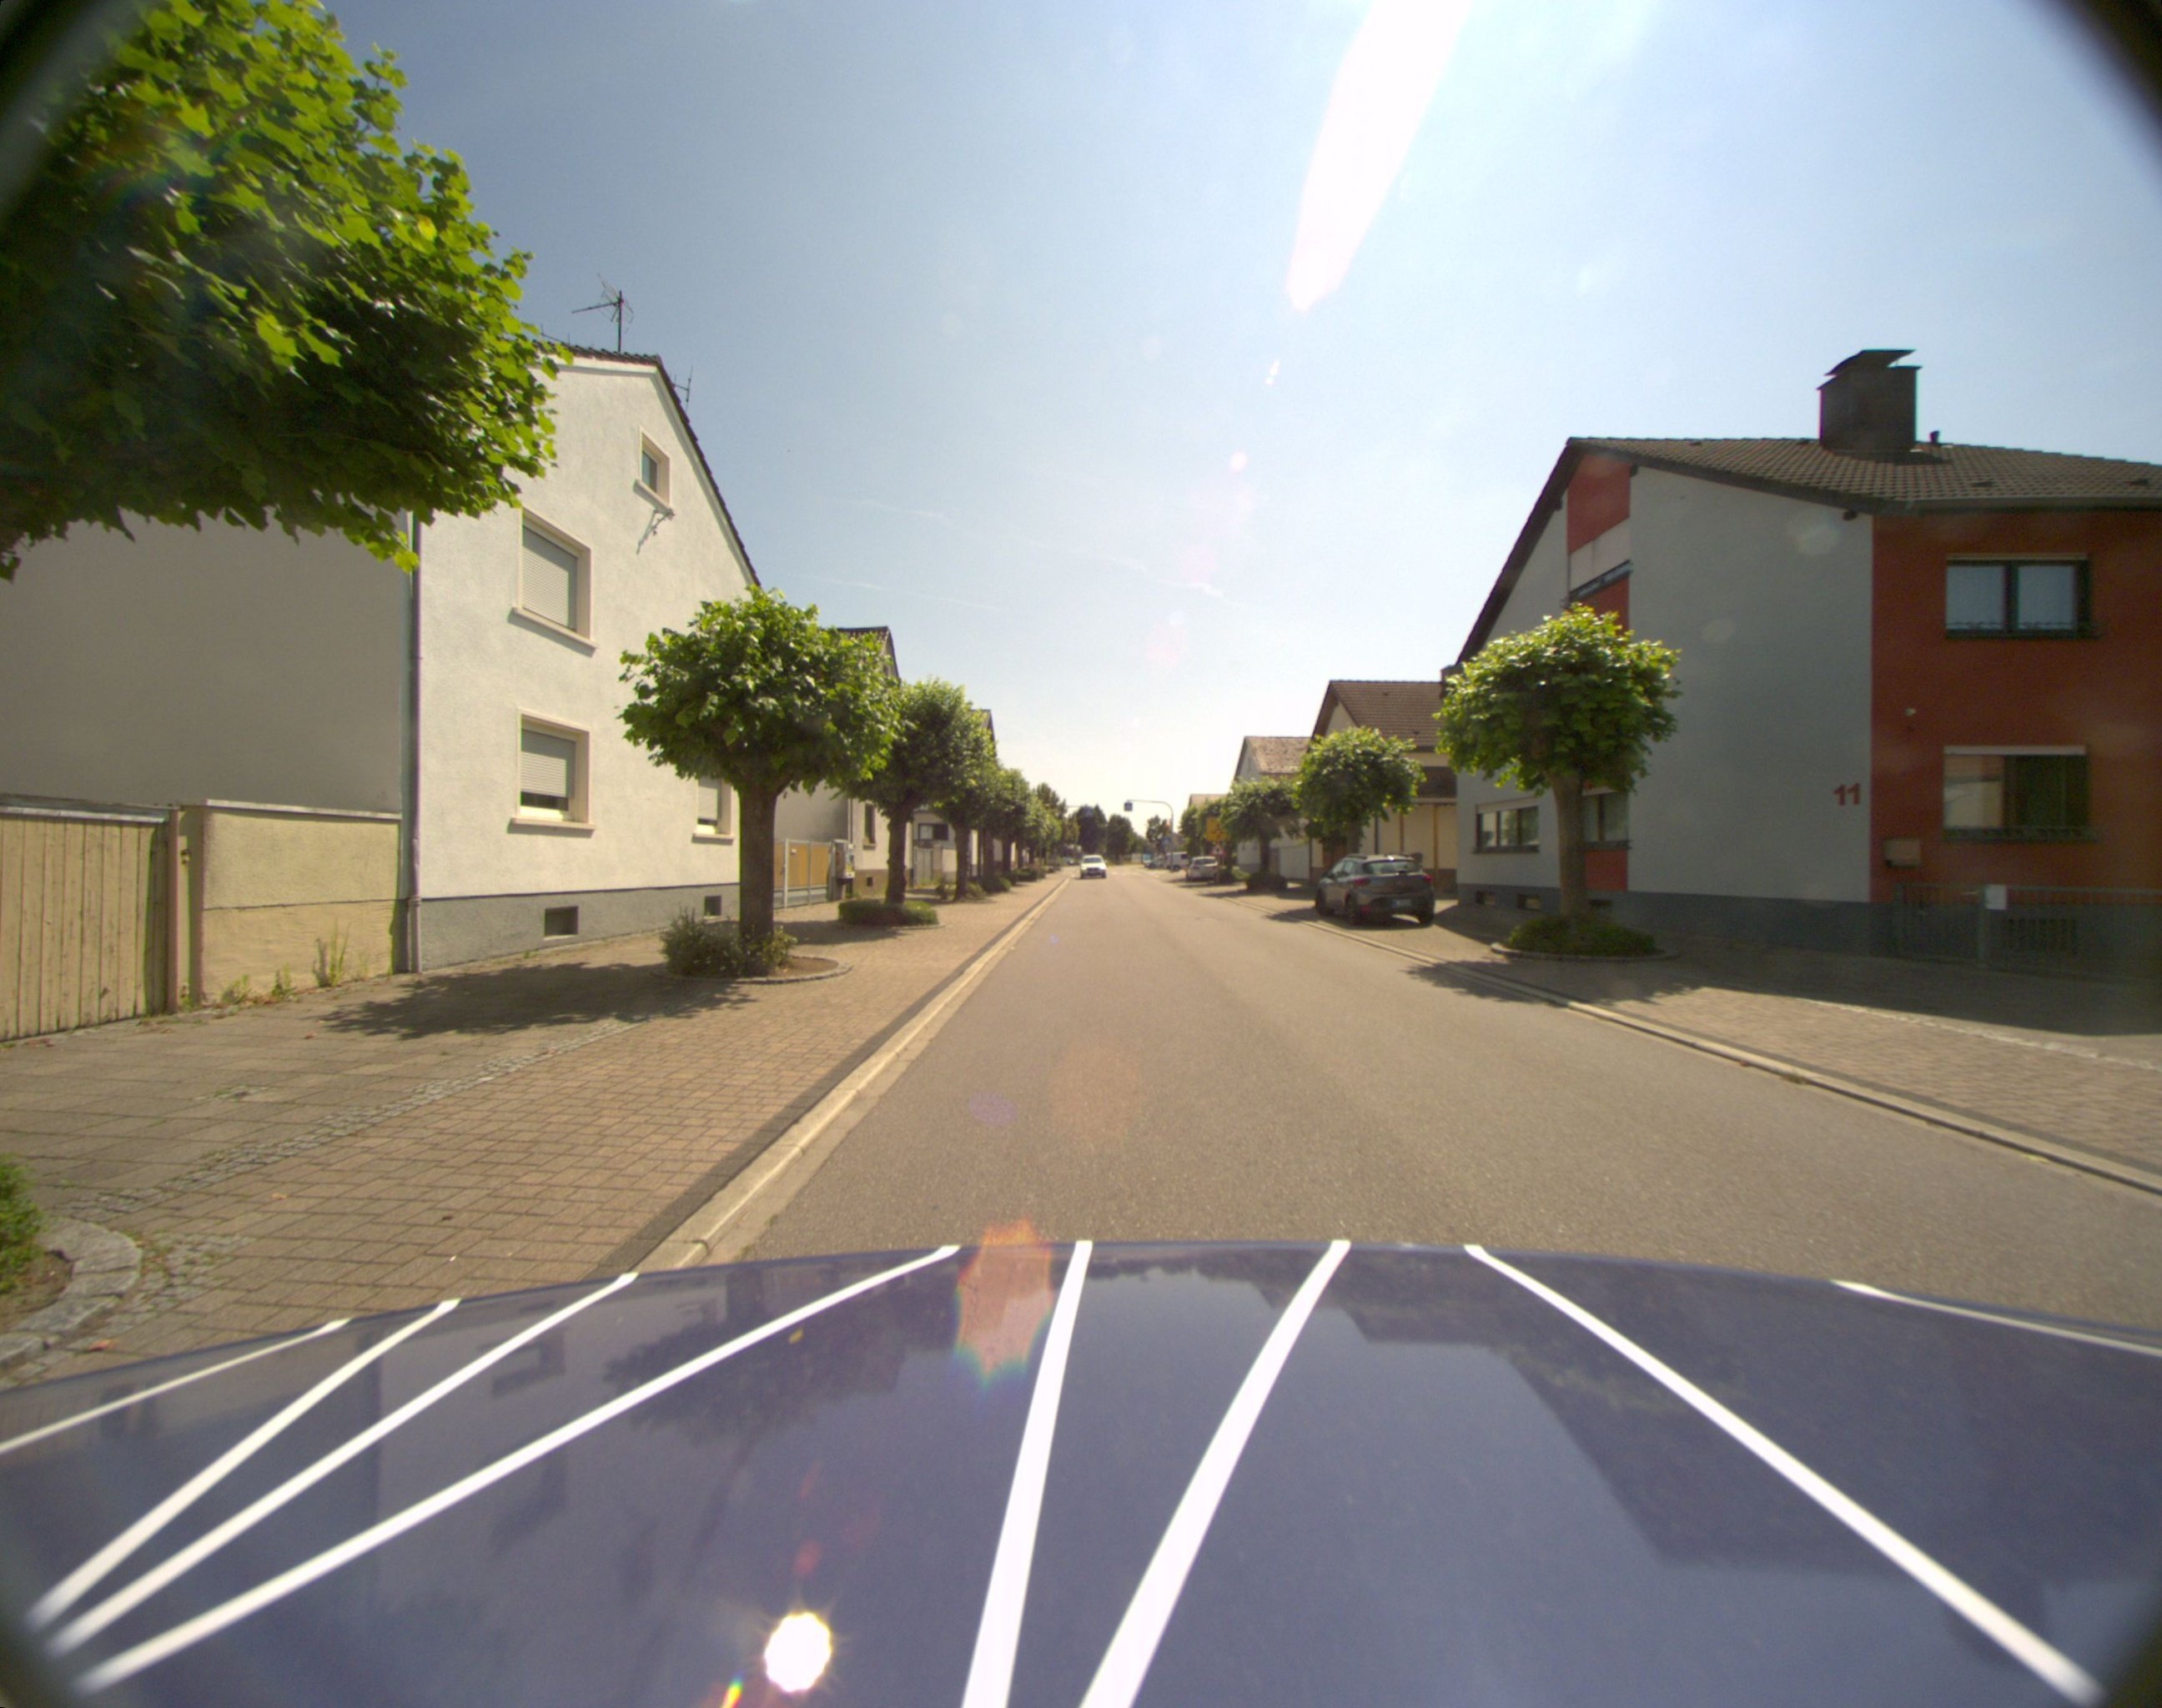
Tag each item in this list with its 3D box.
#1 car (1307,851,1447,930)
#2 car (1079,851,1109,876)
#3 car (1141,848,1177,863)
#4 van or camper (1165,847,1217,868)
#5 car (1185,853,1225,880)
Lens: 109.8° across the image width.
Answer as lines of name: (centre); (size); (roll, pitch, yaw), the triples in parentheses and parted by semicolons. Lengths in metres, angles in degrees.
car: (6.852, 0.767, 18.083); (1.857, 1.603, 4.135); (-2, 0, 3)
car: (0.943, 0.639, 53.073); (1.857, 1.603, 4.135); (-2, 0, 3)
car: (10.112, 0.200, 98.348); (4.251, 1.709, 1.944); (-2, 1, -5)
van or camper: (10.641, 0.341, 73.991); (4.752, 1.851, 2.000); (-2, 0, 0)
car: (7.506, 0.706, 46.235); (1.829, 1.474, 4.132); (-2, 1, 1)
